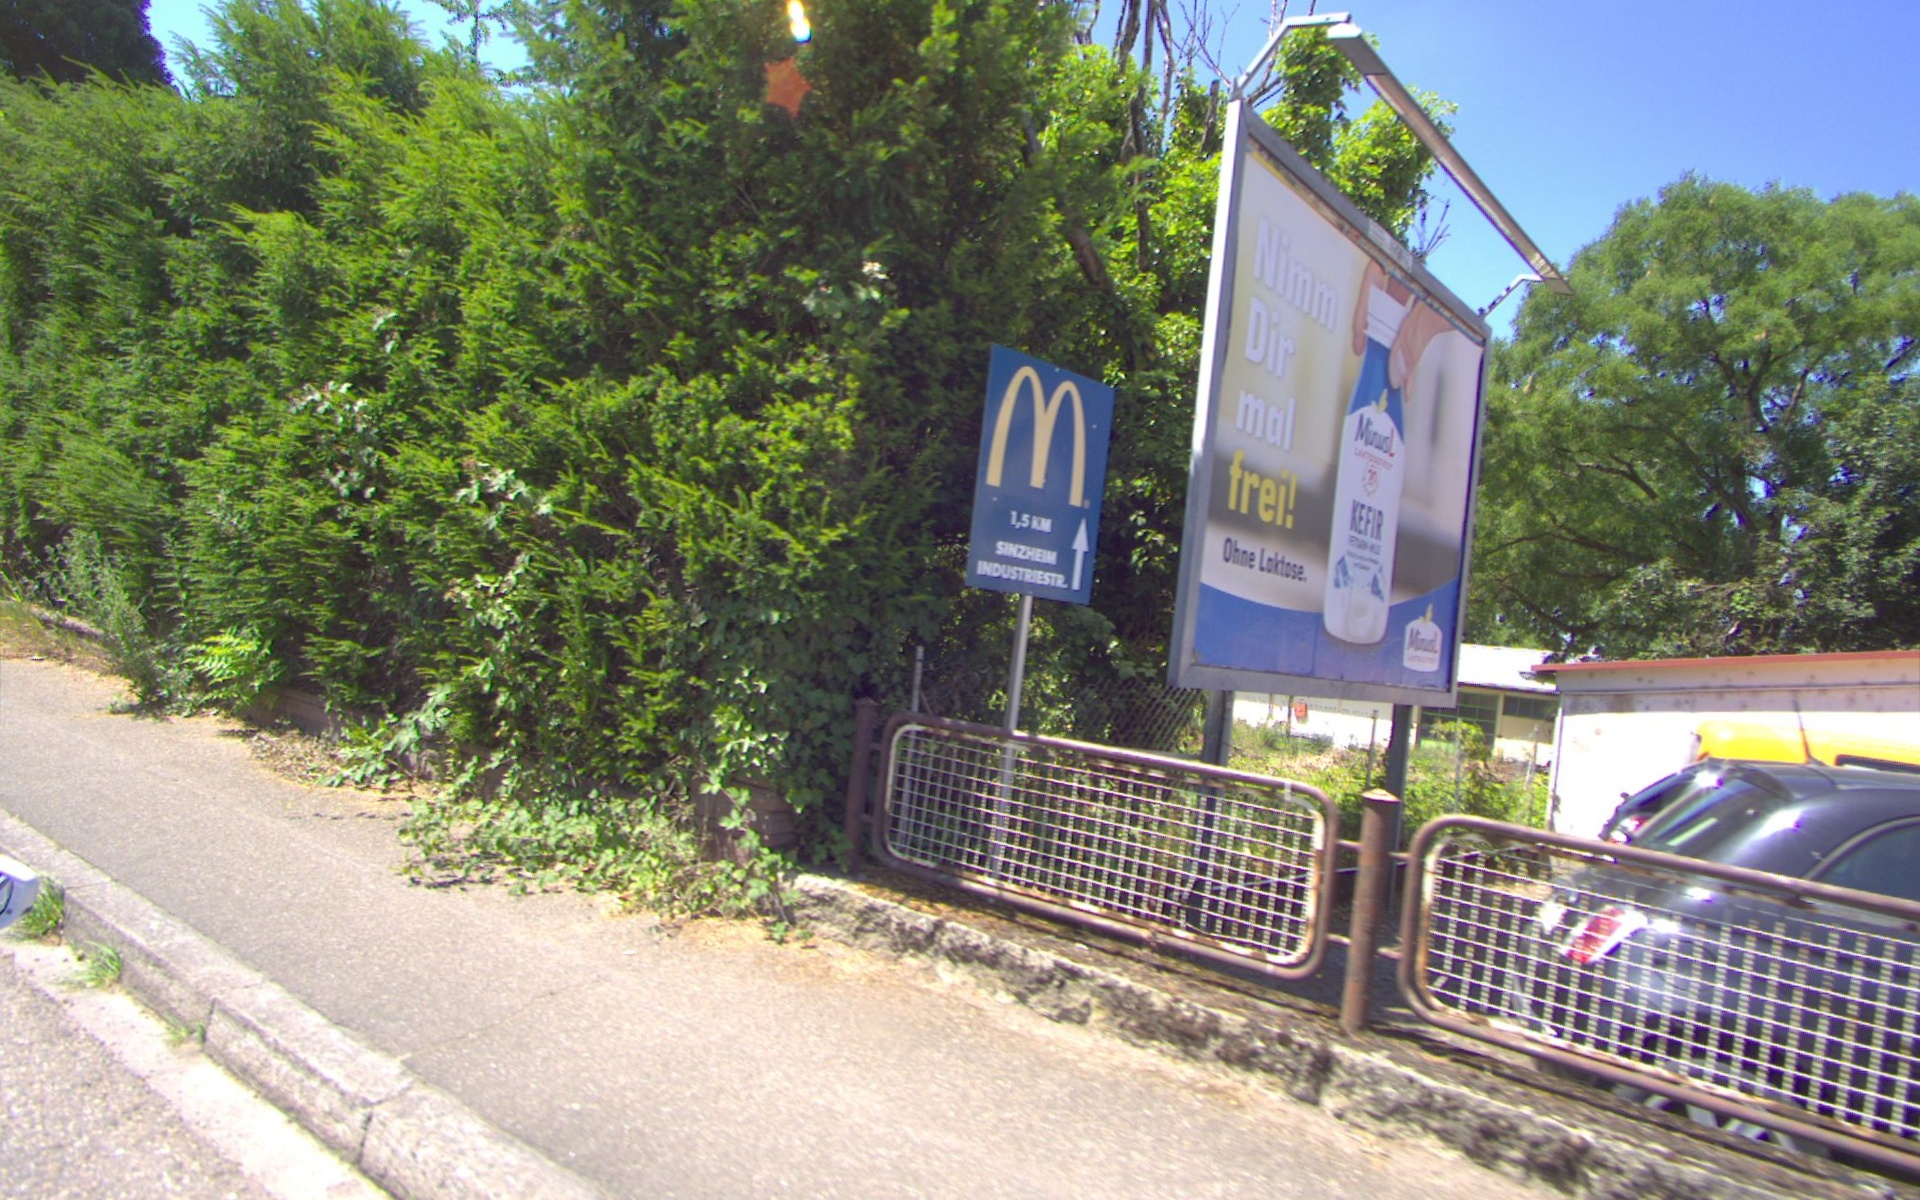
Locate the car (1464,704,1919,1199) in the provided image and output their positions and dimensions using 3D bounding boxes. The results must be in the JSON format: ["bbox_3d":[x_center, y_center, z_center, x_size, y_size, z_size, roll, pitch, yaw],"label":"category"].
[{"bbox_3d":[3.607,1.344,3.060,3.497,1.474,1.637,6,-5,31],"label":"car"}]

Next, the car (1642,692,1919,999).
[{"bbox_3d":[7.344,1.878,6.978,4.097,1.818,1.780,6,-5,32],"label":"car"}]

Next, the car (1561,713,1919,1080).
[{"bbox_3d":[5.301,1.626,5.373,3.341,1.561,1.632,5,-3,37],"label":"car"}]
